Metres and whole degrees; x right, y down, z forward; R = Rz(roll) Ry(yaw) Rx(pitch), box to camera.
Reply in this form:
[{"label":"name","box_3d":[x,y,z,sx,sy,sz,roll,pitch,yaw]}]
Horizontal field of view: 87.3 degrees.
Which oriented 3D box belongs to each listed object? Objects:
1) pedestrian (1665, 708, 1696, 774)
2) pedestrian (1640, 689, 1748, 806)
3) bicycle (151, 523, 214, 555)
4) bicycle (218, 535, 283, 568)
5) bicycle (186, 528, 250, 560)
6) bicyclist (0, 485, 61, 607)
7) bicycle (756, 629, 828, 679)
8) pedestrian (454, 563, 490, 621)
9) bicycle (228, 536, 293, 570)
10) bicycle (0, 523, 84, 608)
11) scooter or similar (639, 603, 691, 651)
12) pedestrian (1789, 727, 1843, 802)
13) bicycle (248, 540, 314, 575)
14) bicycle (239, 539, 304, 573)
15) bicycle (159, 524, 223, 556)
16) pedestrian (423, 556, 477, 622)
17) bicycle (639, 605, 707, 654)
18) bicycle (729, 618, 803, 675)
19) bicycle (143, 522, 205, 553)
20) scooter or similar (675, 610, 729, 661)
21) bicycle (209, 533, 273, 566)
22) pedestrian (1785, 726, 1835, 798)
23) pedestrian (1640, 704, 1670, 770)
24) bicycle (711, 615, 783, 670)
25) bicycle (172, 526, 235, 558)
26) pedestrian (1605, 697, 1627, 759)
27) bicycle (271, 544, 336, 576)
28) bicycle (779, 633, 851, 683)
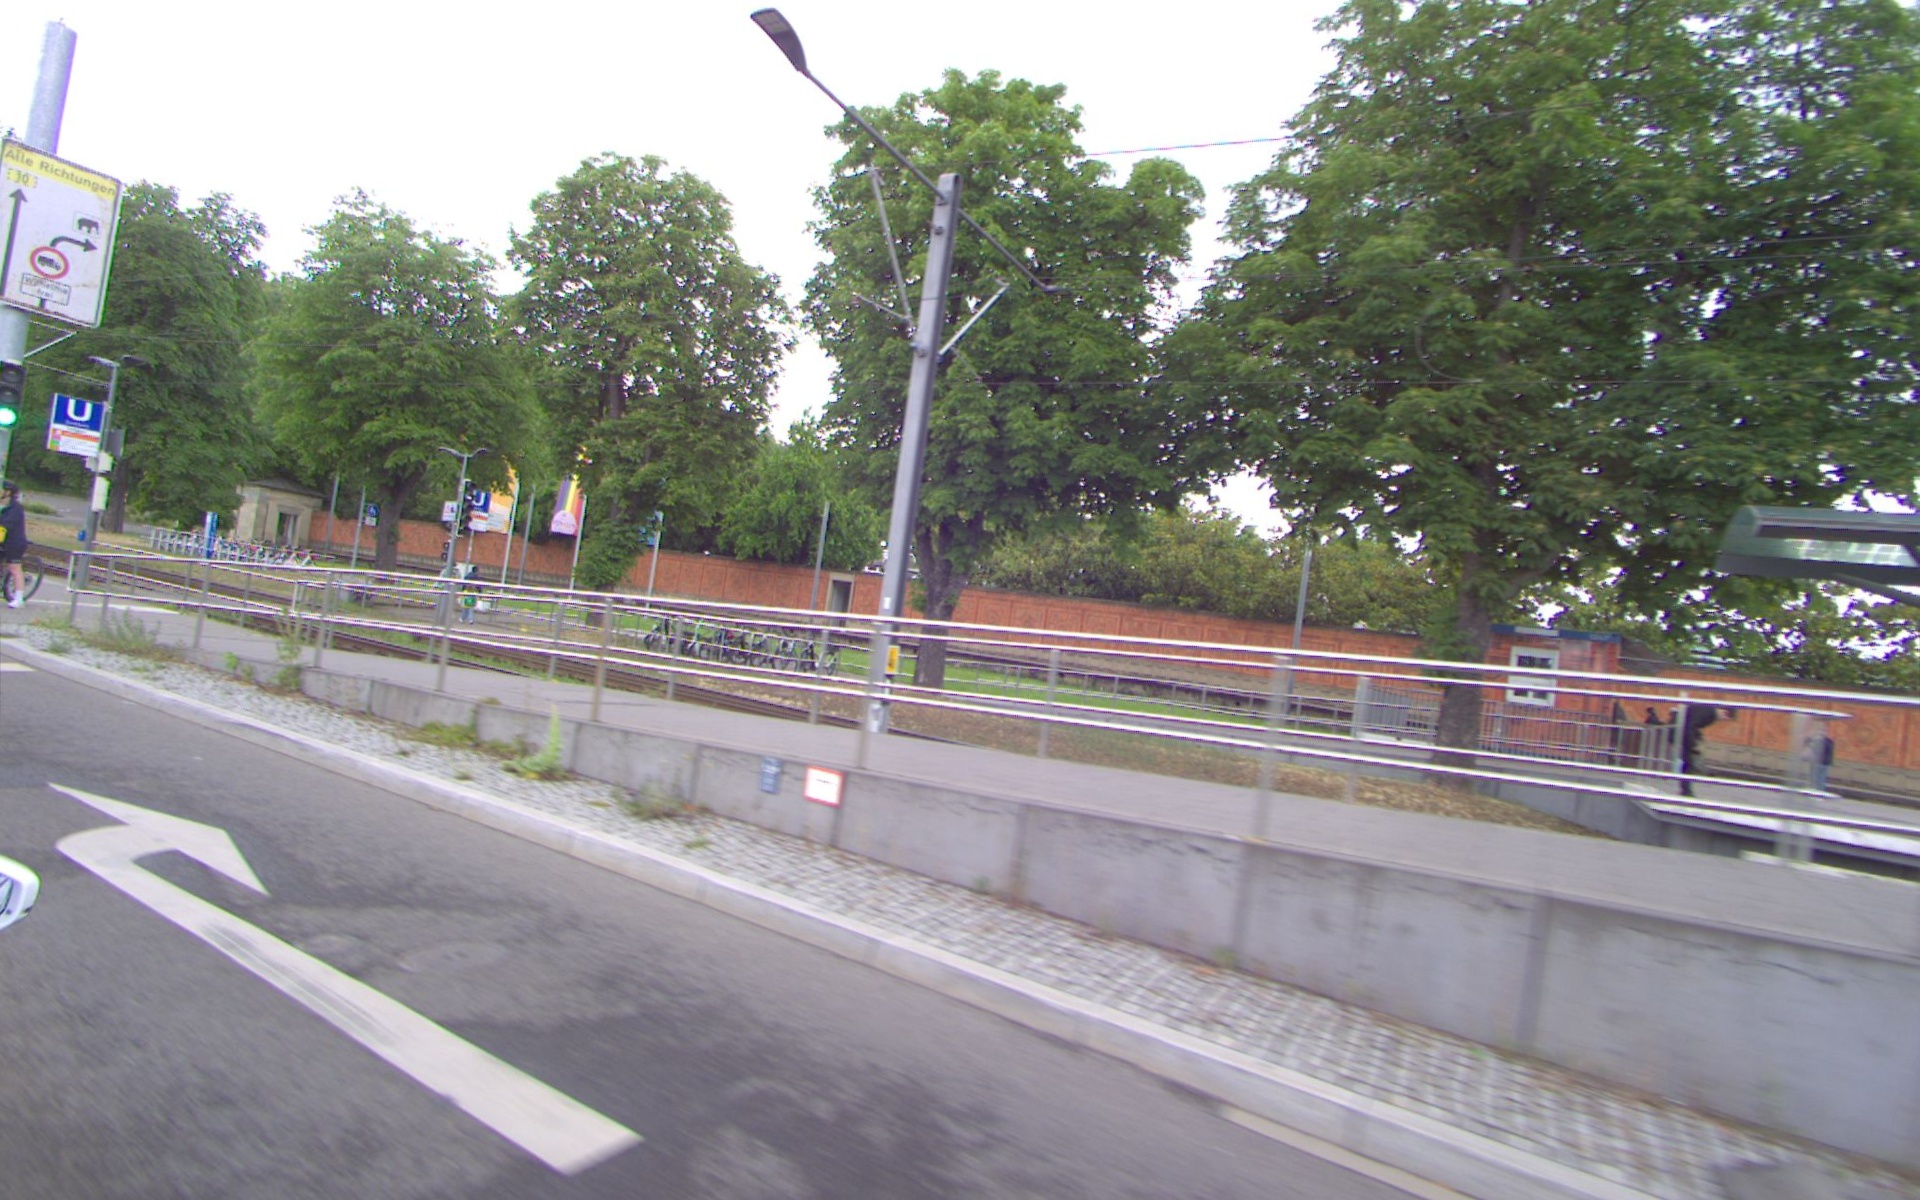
[{"label":"pedestrian","box_3d":[17.393,3.411,24.282,0.452,1.502,0.486,7,-4,34]},{"label":"pedestrian","box_3d":[9.656,1.937,13.265,0.951,1.337,0.676,7,-4,30]},{"label":"bicycle","box_3d":[-32.245,-2.517,41.755,0.522,0.986,1.916,8,-2,31]},{"label":"bicycle","box_3d":[-27.534,-1.879,39.086,0.522,0.986,1.916,8,-2,31]},{"label":"bicycle","box_3d":[-29.998,-2.246,40.704,0.522,0.986,1.916,8,-2,31]},{"label":"bicyclist","box_3d":[-13.056,-0.751,13.746,0.608,1.590,0.805,9,-1,-8]},{"label":"bicycle","box_3d":[-4.112,1.344,24.796,0.524,0.973,1.880,7,-5,31]},{"label":"pedestrian","box_3d":[-13.555,-0.209,27.950,0.506,1.519,0.498,8,0,9]},{"label":"bicycle","box_3d":[-26.899,-1.804,38.735,0.522,0.986,1.916,8,-2,31]},{"label":"bicycle","box_3d":[-13.112,-0.480,13.860,0.610,1.086,1.682,10,-1,-8]},{"label":"scooter or similar","box_3d":[-8.183,0.753,27.922,1.157,1.151,0.330,12,-4,-35]},{"label":"pedestrian","box_3d":[19.862,3.804,23.357,0.611,1.599,0.658,8,-3,18]},{"label":"bicycle","box_3d":[-25.577,-1.593,37.933,0.522,0.986,1.916,8,-2,31]},{"label":"bicycle","box_3d":[-26.141,-1.665,38.223,0.522,0.986,1.916,8,-2,31]},{"label":"bicycle","box_3d":[-31.467,-2.431,41.185,0.522,0.986,1.916,8,-2,31]},{"label":"pedestrian","box_3d":[-13.578,-0.281,26.792,0.763,1.628,0.836,8,-1,9]},{"label":"bicycle","box_3d":[-7.622,0.810,26.797,0.475,1.044,1.770,7,-5,31]},{"label":"bicycle","box_3d":[-4.831,1.173,25.170,0.524,1.151,1.880,7,-5,31]},{"label":"bicycle","box_3d":[-32.993,-2.601,42.269,0.522,0.986,1.916,8,-2,31]},{"label":"scooter or similar","box_3d":[-6.744,0.947,26.363,0.328,1.151,1.277,6,-5,38]},{"label":"bicycle","box_3d":[-28.190,-1.970,39.476,0.522,0.986,1.916,8,-2,31]},{"label":"pedestrian","box_3d":[20.299,3.857,24.038,0.611,1.599,0.587,8,-3,19]},{"label":"pedestrian","box_3d":[17.100,3.375,24.751,0.452,1.551,0.486,7,-4,34]},{"label":"bicycle","box_3d":[-5.462,1.105,25.935,0.524,1.151,1.880,7,-5,31]},{"label":"bicycle","box_3d":[-30.774,-2.345,40.957,0.522,0.986,1.916,8,-2,31]},{"label":"pedestrian","box_3d":[16.537,3.220,25.349,0.311,1.502,0.342,7,-4,34]},{"label":"bicycle","box_3d":[-24.515,-1.483,37.581,0.522,0.906,1.916,8,-2,31]},{"label":"bicycle","box_3d":[-3.498,1.430,24.441,0.524,0.973,1.880,7,-5,31]}]
